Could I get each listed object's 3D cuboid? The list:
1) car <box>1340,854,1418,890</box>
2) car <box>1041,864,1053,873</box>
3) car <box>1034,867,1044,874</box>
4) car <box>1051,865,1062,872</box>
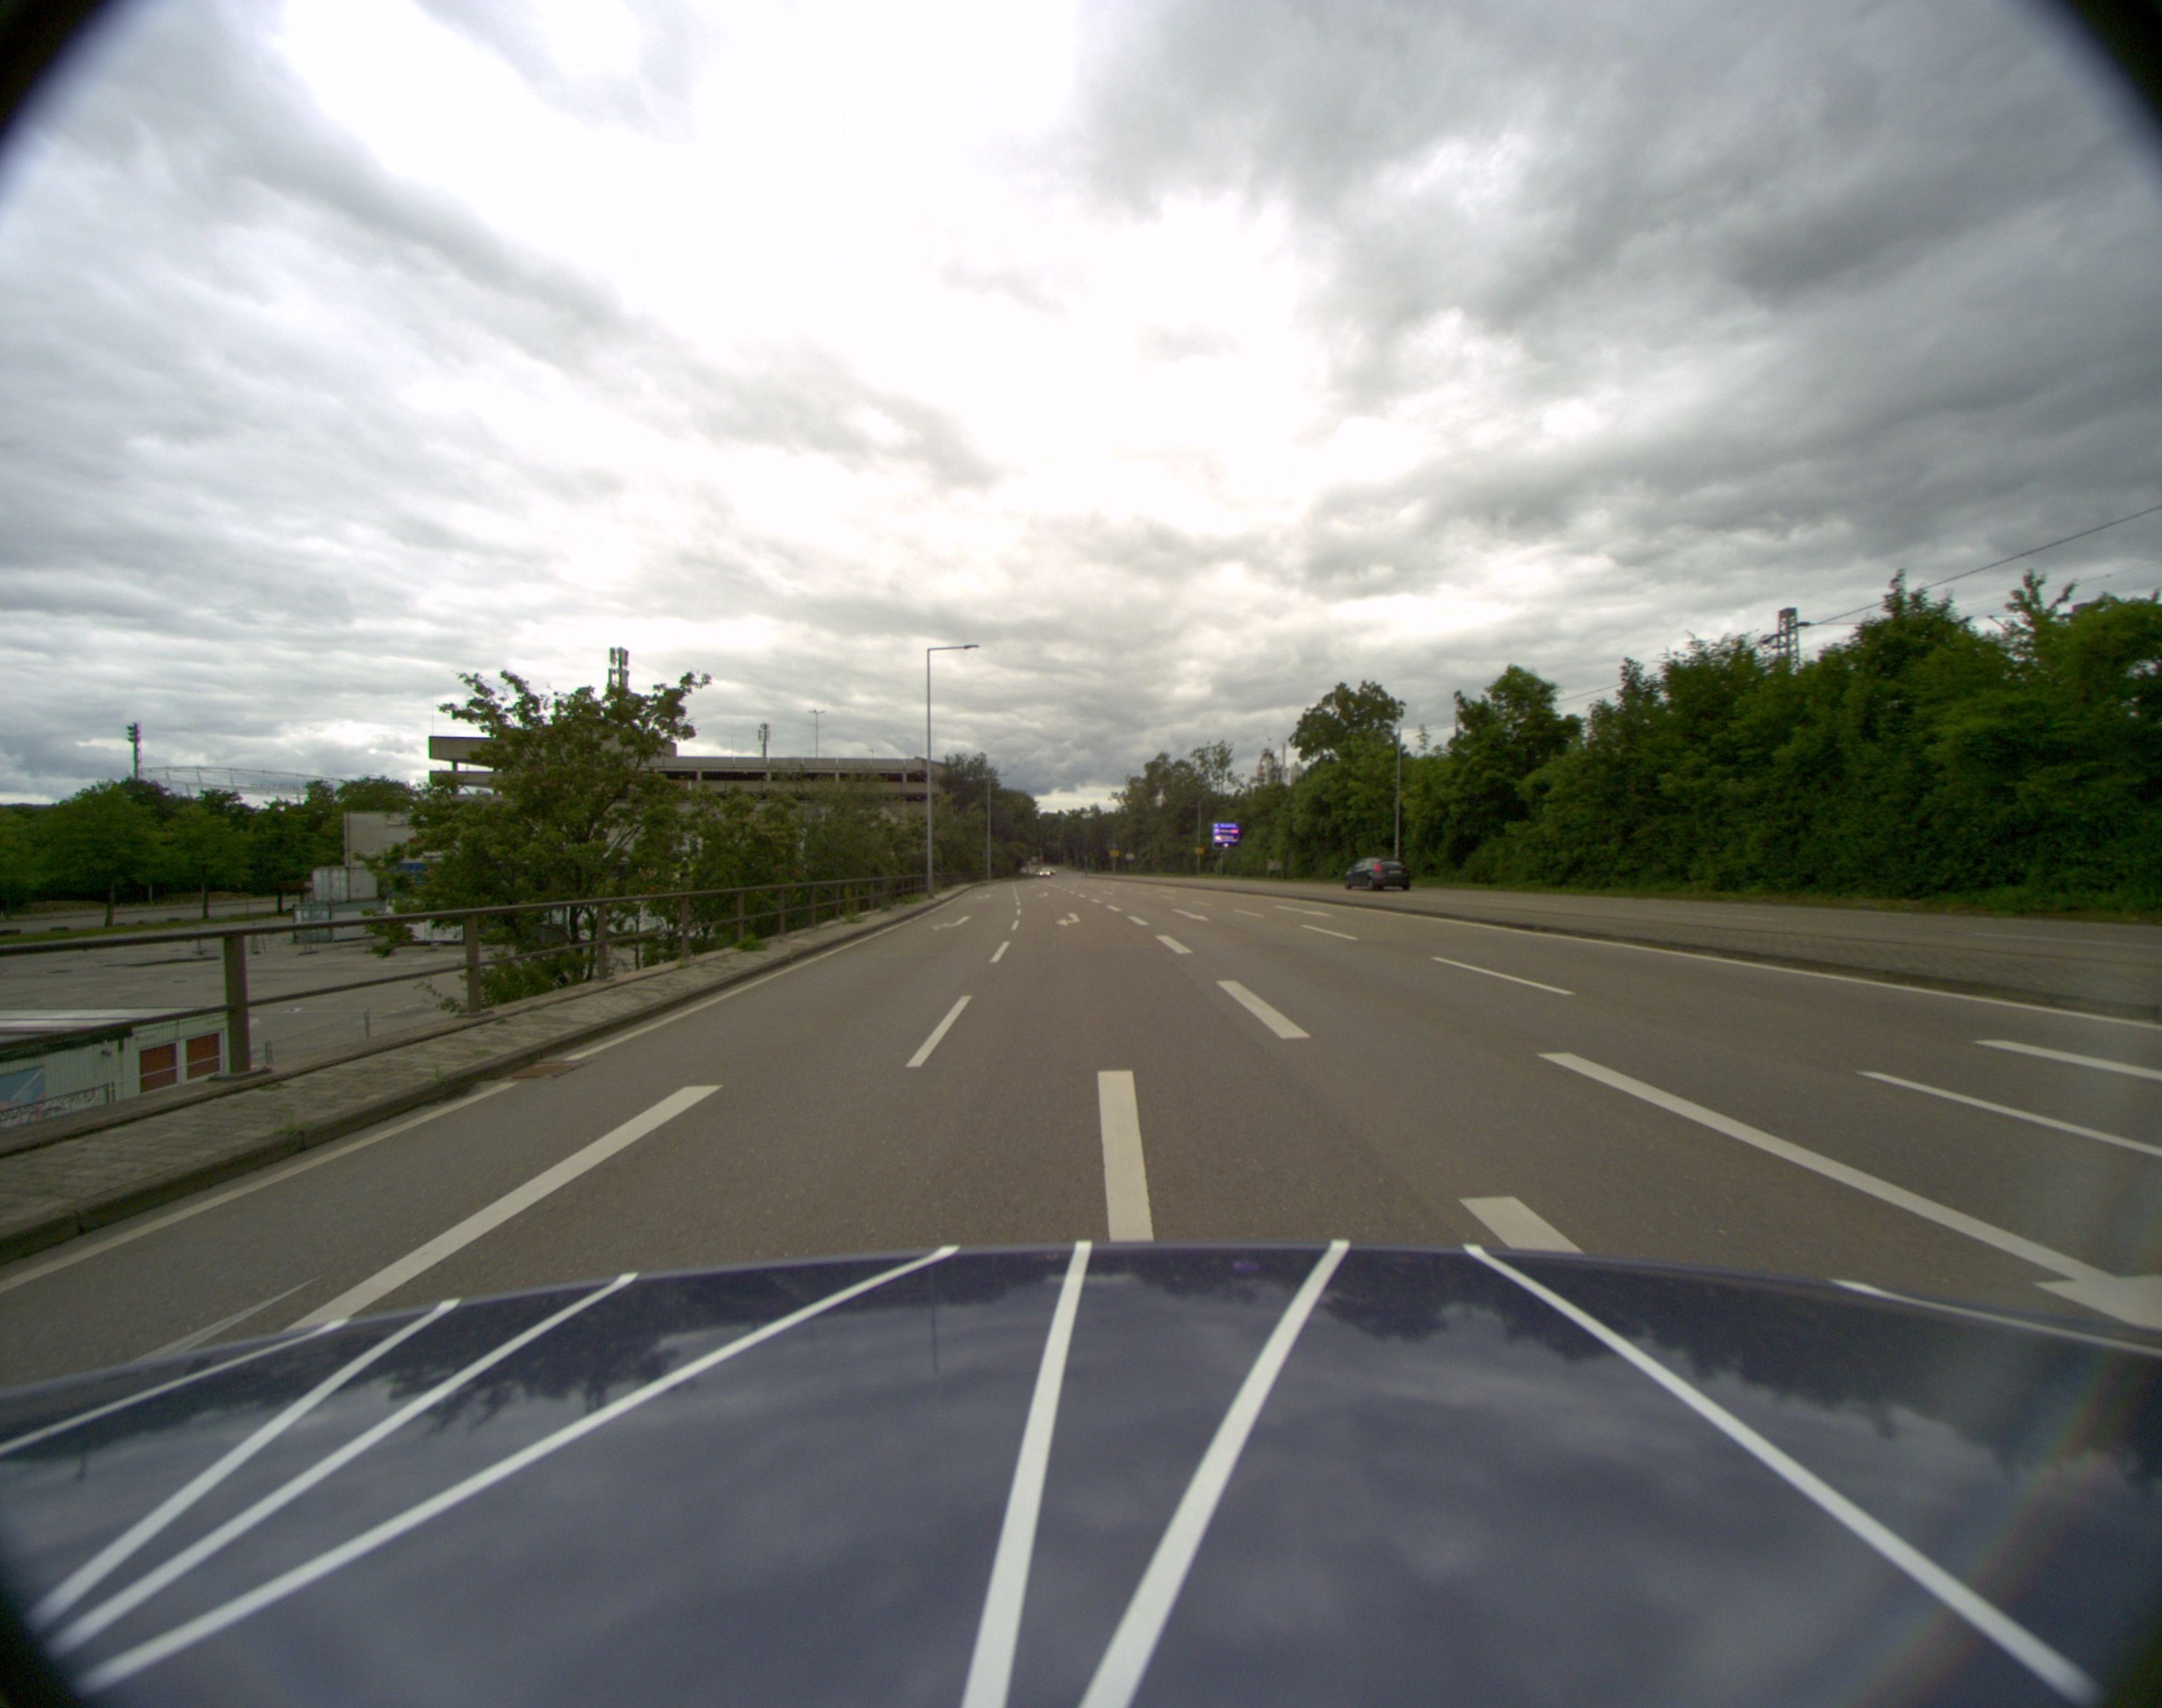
[{"bbox_3d":[13.017,0.745,33.464,1.703,1.455,3.999,-2,0,-2],"label":"car"},{"bbox_3d":[-5.197,2.199,115.781,1.609,1.408,3.591,-1,0,-1],"label":"car"},{"bbox_3d":[-8.534,3.297,154.713,1.865,1.408,4.337,-1,0,-3],"label":"car"},{"bbox_3d":[-5.203,3.070,160.571,1.843,1.408,4.578,-1,0,-6],"label":"car"}]
